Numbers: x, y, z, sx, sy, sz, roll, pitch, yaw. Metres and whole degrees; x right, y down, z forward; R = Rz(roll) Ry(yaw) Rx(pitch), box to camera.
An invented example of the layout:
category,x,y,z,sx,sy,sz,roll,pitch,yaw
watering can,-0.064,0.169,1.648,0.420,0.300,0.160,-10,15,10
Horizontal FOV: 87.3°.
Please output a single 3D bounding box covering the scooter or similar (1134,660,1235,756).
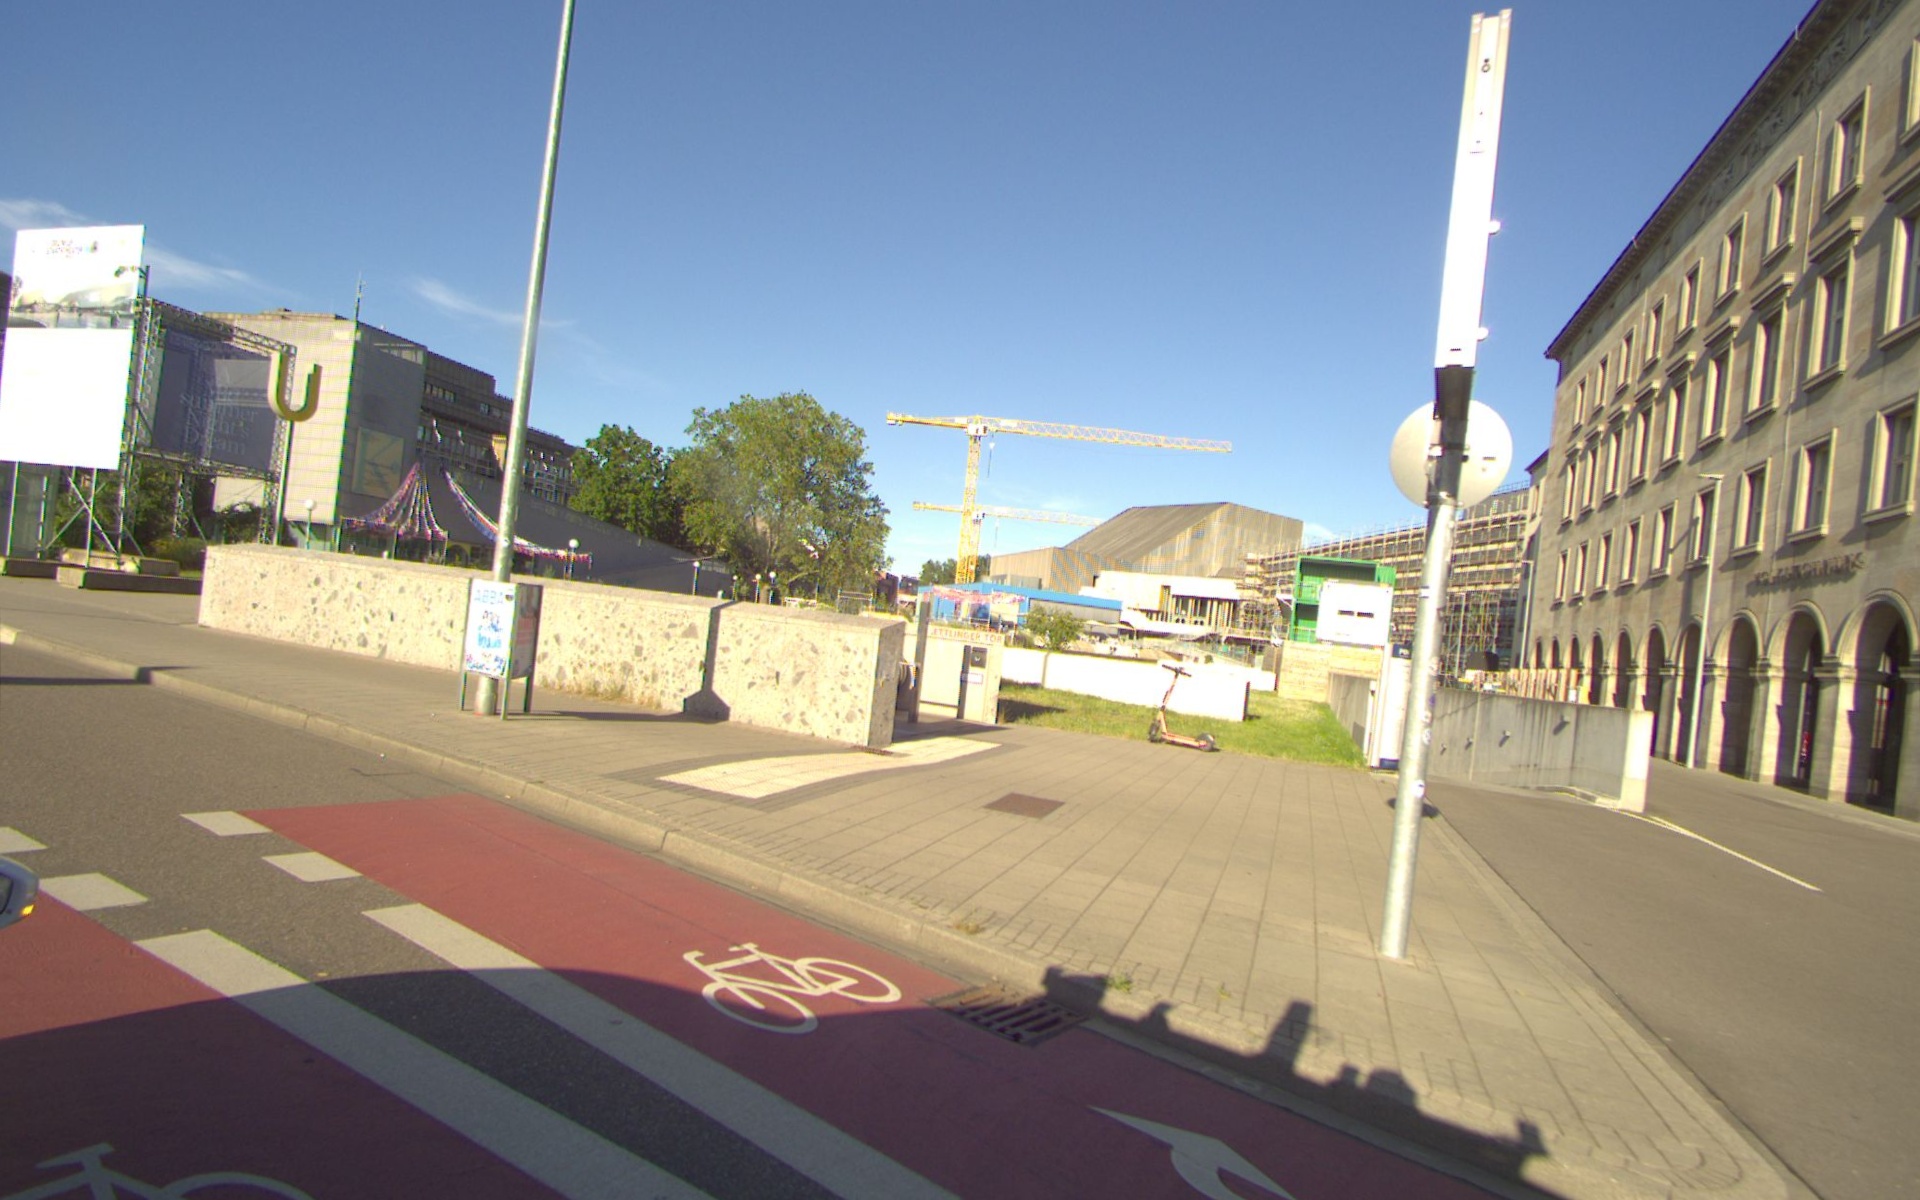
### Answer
category,x,y,z,sx,sy,sz,roll,pitch,yaw
scooter or similar,3.429,1.632,15.434,1.347,1.261,0.361,7,1,36
